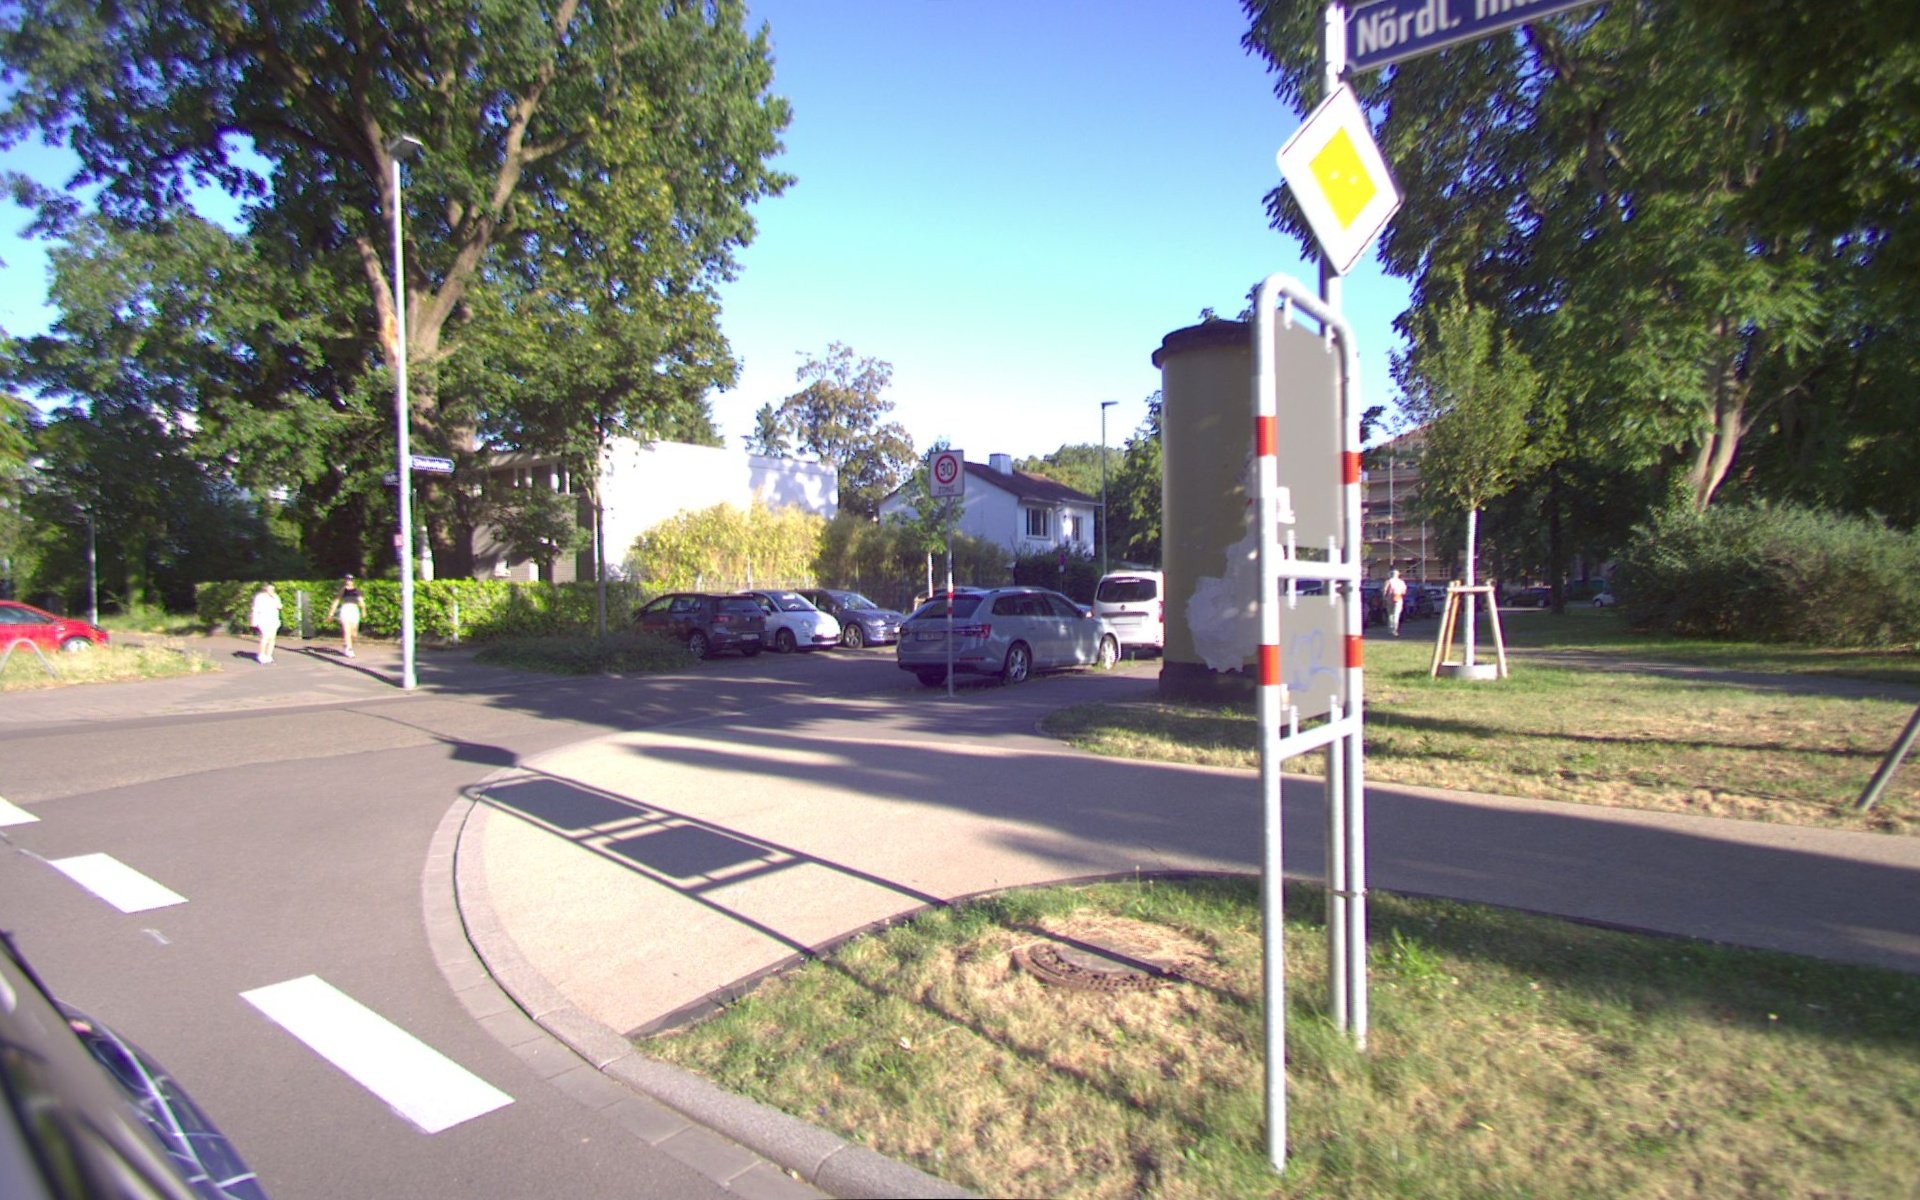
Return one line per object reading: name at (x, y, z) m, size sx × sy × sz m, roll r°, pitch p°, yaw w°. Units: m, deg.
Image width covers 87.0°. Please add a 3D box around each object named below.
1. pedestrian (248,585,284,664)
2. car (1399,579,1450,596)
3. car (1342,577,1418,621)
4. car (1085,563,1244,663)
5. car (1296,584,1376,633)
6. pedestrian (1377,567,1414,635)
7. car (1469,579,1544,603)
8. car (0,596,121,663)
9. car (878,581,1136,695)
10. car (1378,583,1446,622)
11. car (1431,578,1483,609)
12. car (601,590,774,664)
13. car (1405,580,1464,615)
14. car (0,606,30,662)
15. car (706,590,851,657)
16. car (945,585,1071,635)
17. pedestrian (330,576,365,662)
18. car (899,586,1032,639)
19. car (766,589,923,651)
pedestrian at (-14.278, 0.500, 20.815) m, size 0.666 × 1.593 × 0.430 m, roll -1°, pitch 0°, yaw 41°
car at (43.537, -1.160, 94.966) m, size 3.998 × 1.586 × 1.803 m, roll -1°, pitch 1°, yaw 41°
car at (15.428, -0.045, 37.087) m, size 1.715 × 1.520 × 3.633 m, roll -1°, pitch 0°, yaw 37°
car at (4.485, 0.236, 21.745) m, size 1.759 × 1.931 × 4.187 m, roll -1°, pitch 0°, yaw 36°
car at (12.311, 0.272, 33.034) m, size 1.713 × 1.520 × 3.272 m, roll -1°, pitch 0°, yaw 34°
pedestrian at (11.443, 0.020, 26.590) m, size 0.715 × 1.750 × 0.738 m, roll -1°, pitch 1°, yaw 36°
car at (40.261, -0.637, 74.733) m, size 2.246 × 1.696 × 4.527 m, roll 2°, pitch -1°, yaw -18°
car at (-21.516, 0.666, 22.852) m, size 1.714 × 1.431 × 3.637 m, roll -1°, pitch 1°, yaw 34°
car at (0.941, 0.496, 16.441) m, size 1.864 × 1.570 × 4.779 m, roll -1°, pitch 0°, yaw 36°
car at (18.369, 0.078, 41.067) m, size 1.715 × 1.520 × 3.633 m, roll -1°, pitch 0°, yaw 37°
car at (25.069, -0.335, 51.020) m, size 1.715 × 1.520 × 3.633 m, roll -1°, pitch 0°, yaw 37°
car at (-6.220, 0.572, 22.951) m, size 3.991 × 1.527 × 1.626 m, roll -1°, pitch 0°, yaw 35°
car at (21.448, -0.126, 45.698) m, size 1.715 × 1.520 × 3.633 m, roll -1°, pitch 0°, yaw 37°
car at (-26.411, 0.922, 25.565) m, size 1.714 × 1.431 × 4.012 m, roll -1°, pitch 1°, yaw 34°
car at (-4.486, 0.521, 24.896) m, size 3.348 × 1.502 × 1.619 m, roll 1°, pitch 1°, yaw 35°
car at (1.581, 0.295, 34.005) m, size 3.914 × 1.549 × 1.725 m, roll 1°, pitch 1°, yaw 34°
pedestrian at (-12.975, 0.387, 21.431) m, size 0.666 × 1.788 × 0.430 m, roll -1°, pitch 0°, yaw 41°
car at (0.149, 0.348, 31.875) m, size 3.914 × 1.549 × 1.725 m, roll 1°, pitch 1°, yaw 34°
car at (-3.123, 0.473, 26.966) m, size 4.094 × 1.468 × 1.788 m, roll 1°, pitch 2°, yaw 38°
